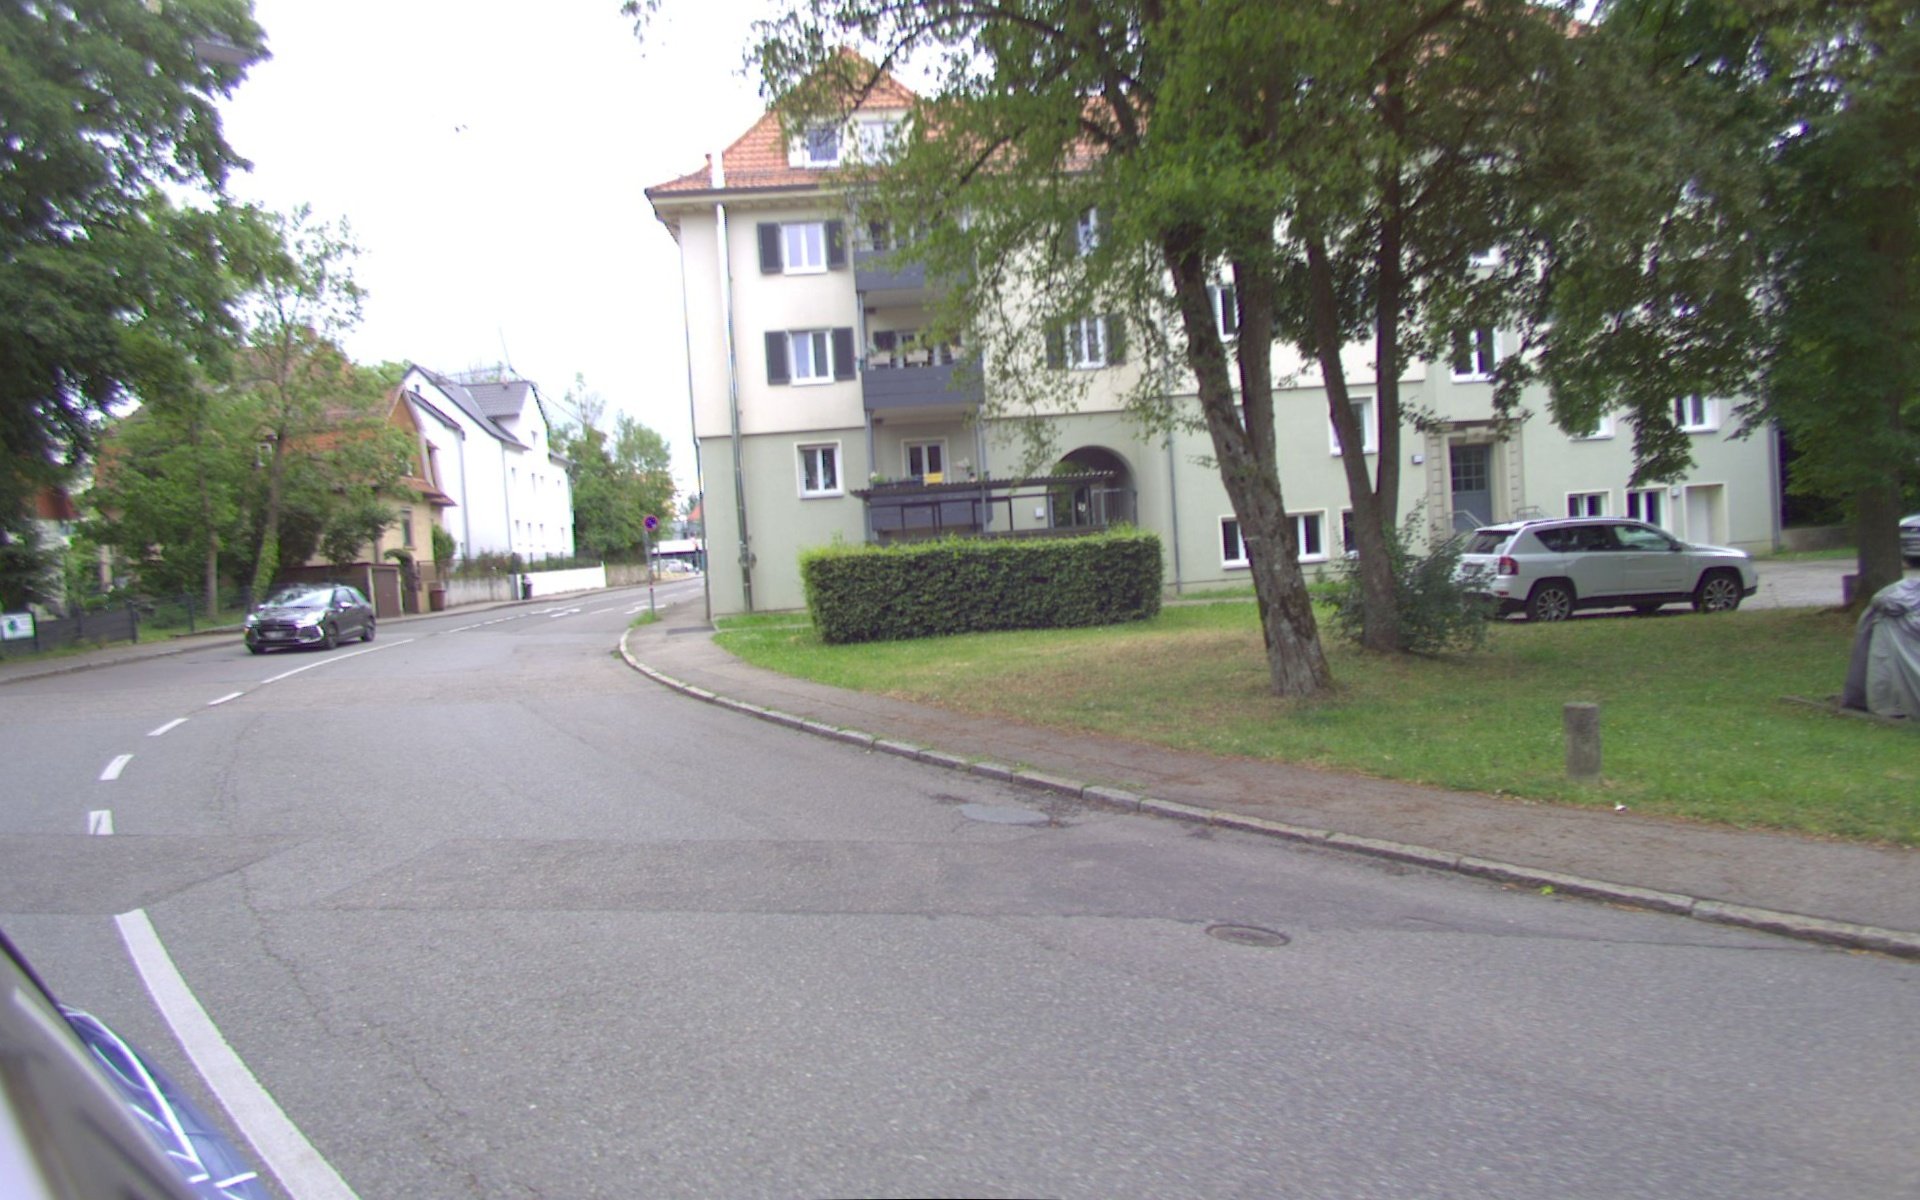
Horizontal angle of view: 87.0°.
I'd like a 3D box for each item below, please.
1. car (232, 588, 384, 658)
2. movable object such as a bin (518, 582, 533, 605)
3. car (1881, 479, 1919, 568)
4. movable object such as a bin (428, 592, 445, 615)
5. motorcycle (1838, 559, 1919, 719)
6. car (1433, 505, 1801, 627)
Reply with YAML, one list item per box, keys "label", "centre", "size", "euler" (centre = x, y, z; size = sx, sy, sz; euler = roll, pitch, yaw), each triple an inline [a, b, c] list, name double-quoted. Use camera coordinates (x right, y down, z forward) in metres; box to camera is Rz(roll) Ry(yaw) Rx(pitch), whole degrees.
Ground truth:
- label: "car"
  centre: [-15.446, 0.484, 24.207]
  size: [1.621, 1.408, 3.789]
  euler: [-2, 2, -9]
- label: "movable object such as a bin"
  centre: [-22.968, -0.329, 53.472]
  size: [0.521, 1.187, 0.635]
  euler: [0, 2, -5]
- label: "car"
  centre: [21.101, -1.641, 19.665]
  size: [4.568, 1.743, 1.745]
  euler: [-3, 2, 5]
- label: "movable object such as a bin"
  centre: [-22.324, 0.149, 43.145]
  size: [0.455, 0.931, 0.567]
  euler: [0, 3, -5]
- label: "motorcycle"
  centre: [7.579, 0.305, 7.228]
  size: [0.853, 1.160, 2.066]
  euler: [-2, 2, 2]
- label: "car"
  centre: [10.307, -0.554, 16.139]
  size: [4.526, 1.544, 1.957]
  euler: [-4, 3, 0]
